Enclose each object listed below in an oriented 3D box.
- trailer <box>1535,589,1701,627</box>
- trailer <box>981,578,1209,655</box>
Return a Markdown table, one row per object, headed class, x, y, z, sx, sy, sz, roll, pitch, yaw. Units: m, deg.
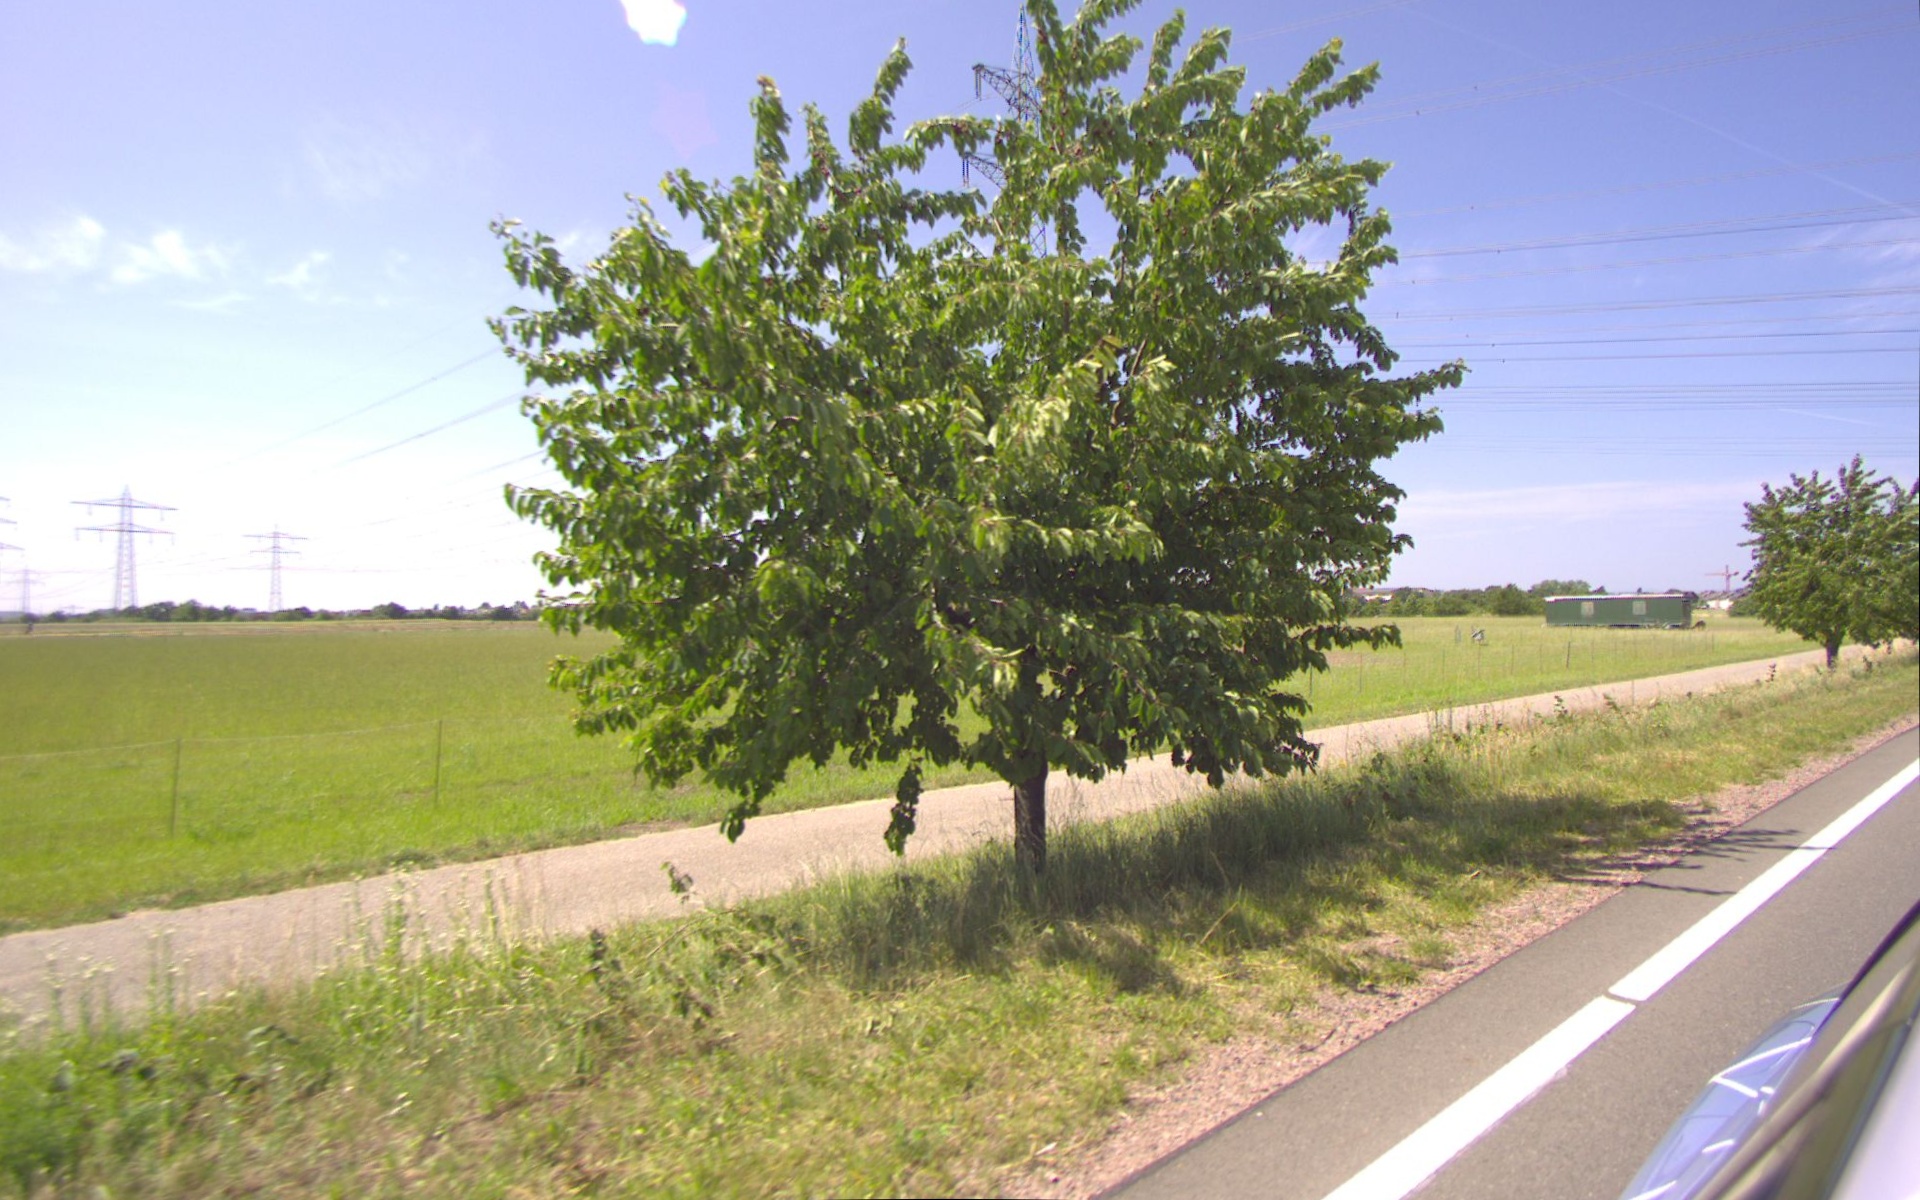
| class | x | y | z | sx | sy | sz | roll | pitch | yaw |
| --- | --- | --- | --- | --- | --- | --- | --- | --- | --- |
| trailer | 65.102 | 0.826 | 100.670 | 3.217 | 3.519 | 13.539 | 0 | -1 | -38 |
| trailer | 6.587 | 0.857 | 52.337 | 3.738 | 3.517 | 12.433 | 0 | -1 | -40 |
